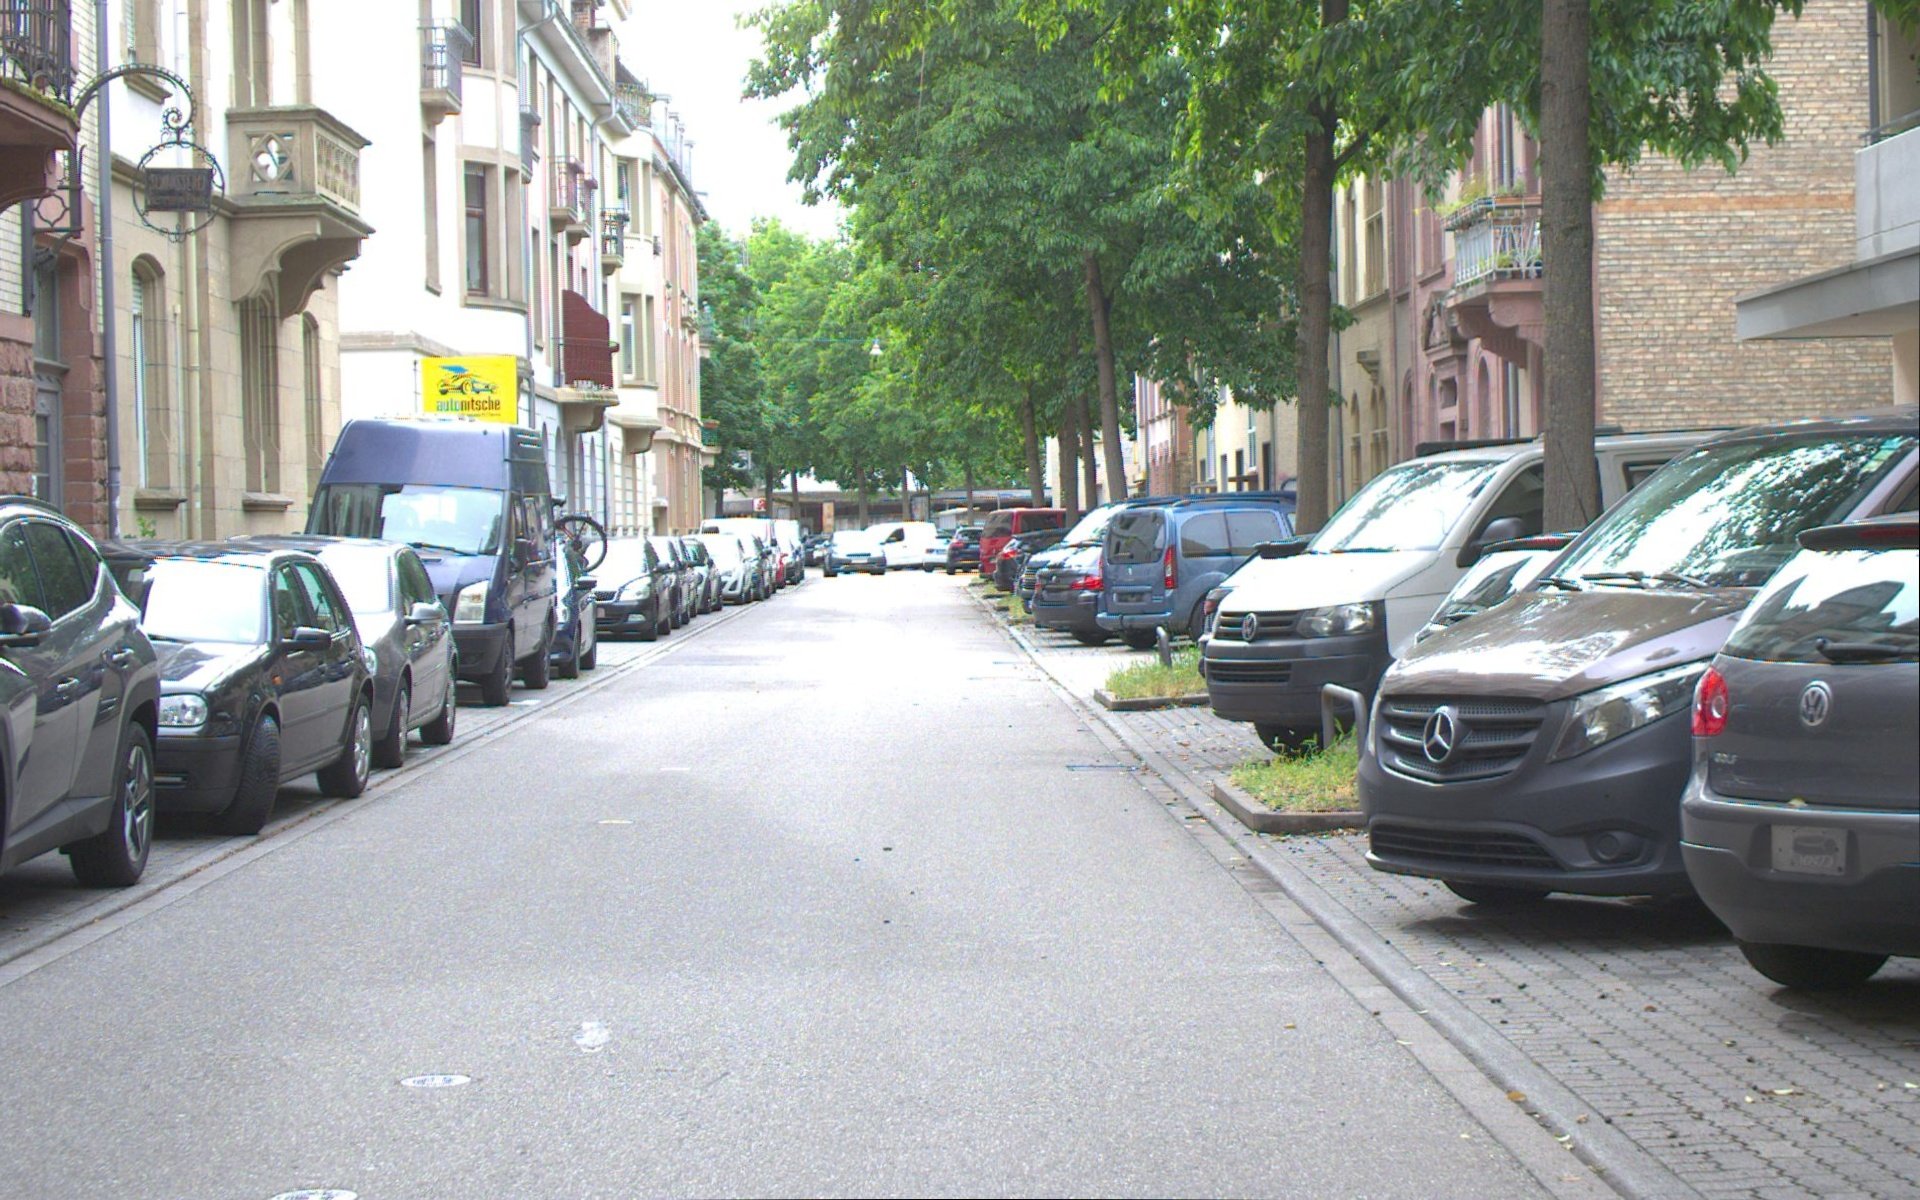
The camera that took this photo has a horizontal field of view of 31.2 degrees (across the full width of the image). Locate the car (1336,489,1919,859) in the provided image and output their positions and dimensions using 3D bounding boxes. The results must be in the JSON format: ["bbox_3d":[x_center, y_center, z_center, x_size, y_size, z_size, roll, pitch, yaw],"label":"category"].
[{"bbox_3d":[3.960,0.248,16.222,3.995,1.439,1.841,-4,2,-32],"label":"car"}]

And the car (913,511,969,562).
[{"bbox_3d":[-0.709,-2.293,124.804,1.993,1.788,4.000,0,0,-1],"label":"car"}]

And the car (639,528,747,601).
[{"bbox_3d":[-5.599,-0.766,72.536,1.993,1.470,4.000,-1,1,-1],"label":"car"}]

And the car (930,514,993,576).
[{"bbox_3d":[0.030,-1.874,116.718,1.993,2.007,4.000,2,1,-1],"label":"car"}]

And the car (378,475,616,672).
[{"bbox_3d":[-5.014,-0.326,37.875,1.993,2.007,4.891,-1,1,-1],"label":"car"}]

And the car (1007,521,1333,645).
[{"bbox_3d":[2.837,-0.251,46.291,4.010,1.554,1.885,-2,1,-31],"label":"car"}]

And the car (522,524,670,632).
[{"bbox_3d":[-5.175,-0.344,49.343,1.789,1.475,4.023,0,1,-1],"label":"car"}]

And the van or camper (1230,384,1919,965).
[{"bbox_3d":[3.776,0.133,13.326,5.005,1.863,2.127,-3,1,-28],"label":"van or camper"}]

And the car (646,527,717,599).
[{"bbox_3d":[-5.259,-0.712,65.040,1.135,1.305,3.261,-1,1,-1],"label":"car"}]

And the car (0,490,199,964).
[{"bbox_3d":[-4.232,0.405,13.059,1.786,1.641,4.362,0,1,-1],"label":"car"}]

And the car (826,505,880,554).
[{"bbox_3d":[-3.668,-2.416,118.393,1.821,1.639,3.754,0,0,-1],"label":"car"}]

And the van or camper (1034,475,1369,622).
[{"bbox_3d":[3.700,-0.810,52.467,4.775,2.130,2.055,-2,1,-31],"label":"van or camper"}]

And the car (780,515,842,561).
[{"bbox_3d":[-4.600,-1.927,106.523,1.786,1.369,3.888,-1,1,-1],"label":"car"}]

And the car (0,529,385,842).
[{"bbox_3d":[-4.187,0.363,18.284,1.634,1.468,4.000,0,1,-1],"label":"car"}]

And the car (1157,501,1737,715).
[{"bbox_3d":[3.923,0.037,27.481,4.301,1.388,1.923,-4,2,-32],"label":"car"}]

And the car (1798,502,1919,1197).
[{"bbox_3d":[4.116,0.441,7.640,4.039,1.478,1.948,-3,1,-27],"label":"car"}]

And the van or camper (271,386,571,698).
[{"bbox_3d":[-4.893,-0.549,31.943,2.008,2.642,5.316,0,1,-1],"label":"van or camper"}]

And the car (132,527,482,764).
[{"bbox_3d":[-4.359,0.281,23.488,1.667,1.468,4.000,0,0,-1],"label":"car"}]

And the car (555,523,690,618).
[{"bbox_3d":[-5.370,-0.501,55.105,1.829,1.422,3.802,2,1,-1],"label":"car"}]

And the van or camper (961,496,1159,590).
[{"bbox_3d":[2.333,-1.333,79.799,4.146,2.078,1.953,-1,1,-28],"label":"van or camper"}]

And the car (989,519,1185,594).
[{"bbox_3d":[2.565,-0.889,70.021,3.760,1.460,1.729,-1,1,-6],"label":"car"}]

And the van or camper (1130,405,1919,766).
[{"bbox_3d":[3.694,-0.112,21.928,4.729,1.987,2.000,-3,-1,-26],"label":"van or camper"}]

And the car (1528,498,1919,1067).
[{"bbox_3d":[3.883,0.399,10.490,3.849,1.497,1.913,-3,1,-30],"label":"car"}]

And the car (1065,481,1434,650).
[{"bbox_3d":[3.672,-0.439,43.464,4.172,1.863,2.000,-4,1,-30],"label":"car"}]

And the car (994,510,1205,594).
[{"bbox_3d":[2.641,-0.916,65.413,3.760,1.460,1.729,-2,1,-6],"label":"car"}]
